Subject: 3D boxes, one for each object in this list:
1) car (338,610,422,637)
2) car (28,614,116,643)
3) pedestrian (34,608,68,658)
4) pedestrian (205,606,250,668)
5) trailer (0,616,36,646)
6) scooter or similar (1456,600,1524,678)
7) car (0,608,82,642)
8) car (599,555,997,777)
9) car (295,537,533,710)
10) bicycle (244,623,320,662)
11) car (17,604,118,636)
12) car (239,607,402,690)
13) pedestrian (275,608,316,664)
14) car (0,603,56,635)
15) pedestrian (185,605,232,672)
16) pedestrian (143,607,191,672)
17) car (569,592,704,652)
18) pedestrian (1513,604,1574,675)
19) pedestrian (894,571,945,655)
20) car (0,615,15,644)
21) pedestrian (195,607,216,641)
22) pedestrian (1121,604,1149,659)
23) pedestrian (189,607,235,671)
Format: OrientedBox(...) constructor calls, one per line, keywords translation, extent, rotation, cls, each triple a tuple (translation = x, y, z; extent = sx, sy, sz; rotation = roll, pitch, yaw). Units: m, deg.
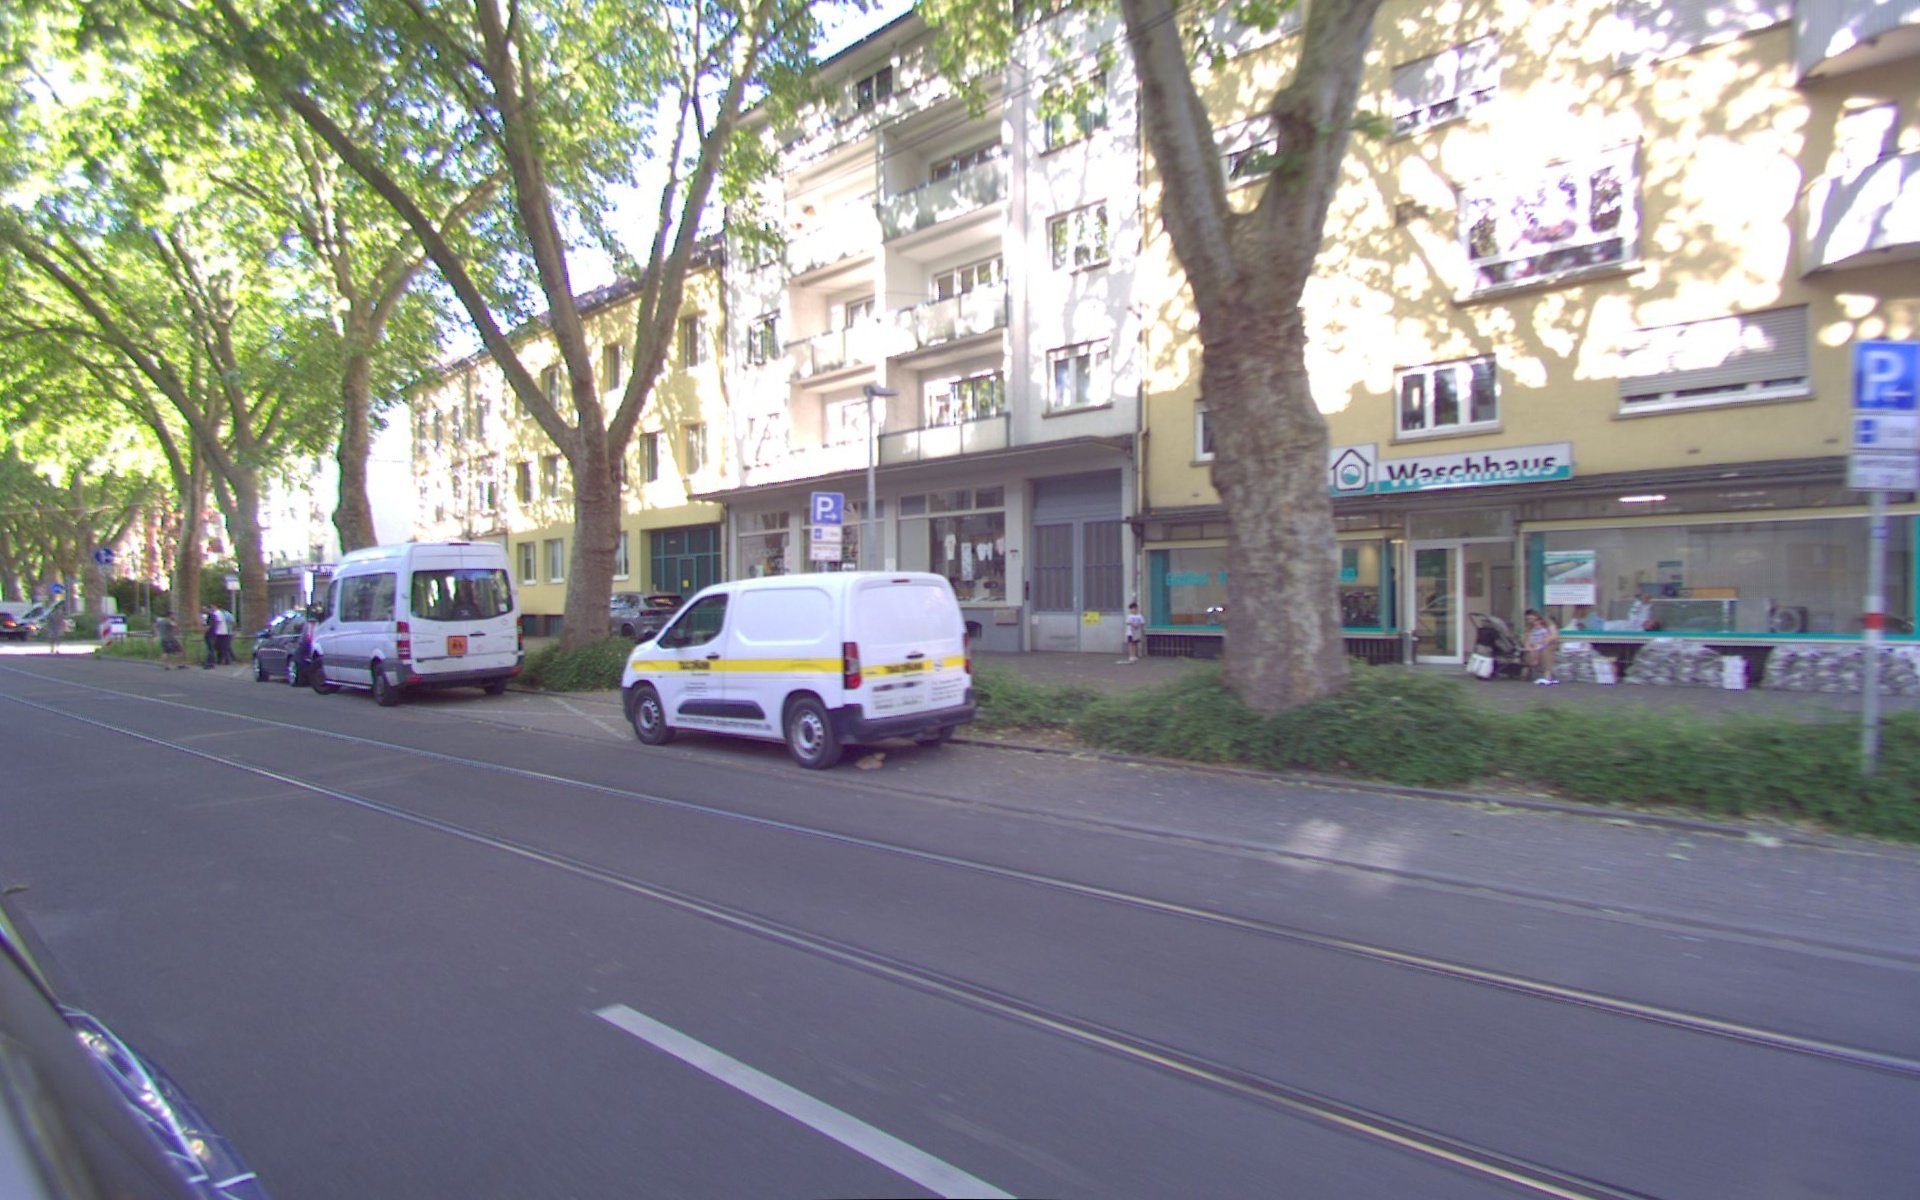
OrientedBox(translation=(-35.688, 1.399, 62.337), extent=(1.834, 1.489, 4.098), rotation=(-1, 1, 42), cls="car")
OrientedBox(translation=(-55.648, 1.749, 63.451), extent=(1.908, 1.622, 3.946), rotation=(-3, -1, 41), cls="car")
OrientedBox(translation=(-33.537, 1.218, 37.341), extent=(0.799, 1.805, 0.693), rotation=(-1, 1, 30), cls="pedestrian")
OrientedBox(translation=(-21.262, 1.067, 29.381), extent=(0.759, 1.748, 0.718), rotation=(-1, 0, -6), cls="pedestrian")
OrientedBox(translation=(-55.196, 1.763, 58.100), extent=(6.581, 1.644, 2.421), rotation=(0, -2, 41), cls="trailer")
OrientedBox(translation=(8.265, 0.594, 15.785), extent=(0.633, 1.176, 0.677), rotation=(-1, 1, -21), cls="scooter or similar")
OrientedBox(translation=(-69.822, 1.867, 76.779), extent=(2.000, 2.323, 4.599), rotation=(-1, 1, 43), cls="car")
OrientedBox(translation=(-1.840, 0.550, 10.589), extent=(4.316, 1.864, 1.745), rotation=(0, 1, 41), cls="car")
OrientedBox(translation=(-9.920, 0.346, 18.087), extent=(2.084, 2.596, 6.027), rotation=(-2, 1, -45), cls="car")
OrientedBox(translation=(-20.501, 1.281, 30.639), extent=(1.820, 1.088, 0.571), rotation=(-1, 1, -20), cls="bicycle")
OrientedBox(translation=(-62.972, 1.376, 71.456), extent=(1.997, 2.010, 5.071), rotation=(-1, 1, 38), cls="car")
OrientedBox(translation=(-13.944, 0.962, 21.988), extent=(4.283, 1.573, 1.896), rotation=(0, 1, 42), cls="car")
OrientedBox(translation=(-19.788, 1.073, 30.149), extent=(0.759, 1.622, 0.715), rotation=(-1, 0, -6), cls="pedestrian")
OrientedBox(translation=(-80.656, 1.619, 86.679), extent=(2.000, 2.552, 4.599), rotation=(-1, 1, 43), cls="car")
OrientedBox(translation=(-20.758, 1.055, 27.980), extent=(0.759, 1.790, 0.715), rotation=(-1, 0, -7), cls="pedestrian")
OrientedBox(translation=(-22.060, 1.096, 28.177), extent=(0.704, 1.748, 0.770), rotation=(-1, 0, 1), cls="pedestrian")
OrientedBox(translation=(-10.427, 0.663, 32.415), extent=(4.898, 1.746, 1.972), rotation=(0, 1, 44), cls="car")
OrientedBox(translation=(9.067, 0.595, 15.726), extent=(0.711, 1.055, 0.572), rotation=(-1, 1, 41), cls="pedestrian")
OrientedBox(translation=(-0.927, 0.283, 23.202), extent=(0.863, 1.883, 0.737), rotation=(-1, 1, 41), cls="pedestrian")
OrientedBox(translation=(-59.250, 1.781, 61.695), extent=(4.180, 1.696, 1.903), rotation=(0, -2, 41), cls="car")
OrientedBox(translation=(-40.879, 1.273, 54.844), extent=(0.668, 1.793, 0.716), rotation=(0, 1, 33), cls="pedestrian")
OrientedBox(translation=(3.624, 0.654, 20.954), extent=(0.436, 1.114, 0.417), rotation=(-1, 1, 33), cls="pedestrian")
OrientedBox(translation=(-21.279, 1.098, 28.791), extent=(0.759, 1.748, 0.715), rotation=(-1, 0, -6), cls="pedestrian")
